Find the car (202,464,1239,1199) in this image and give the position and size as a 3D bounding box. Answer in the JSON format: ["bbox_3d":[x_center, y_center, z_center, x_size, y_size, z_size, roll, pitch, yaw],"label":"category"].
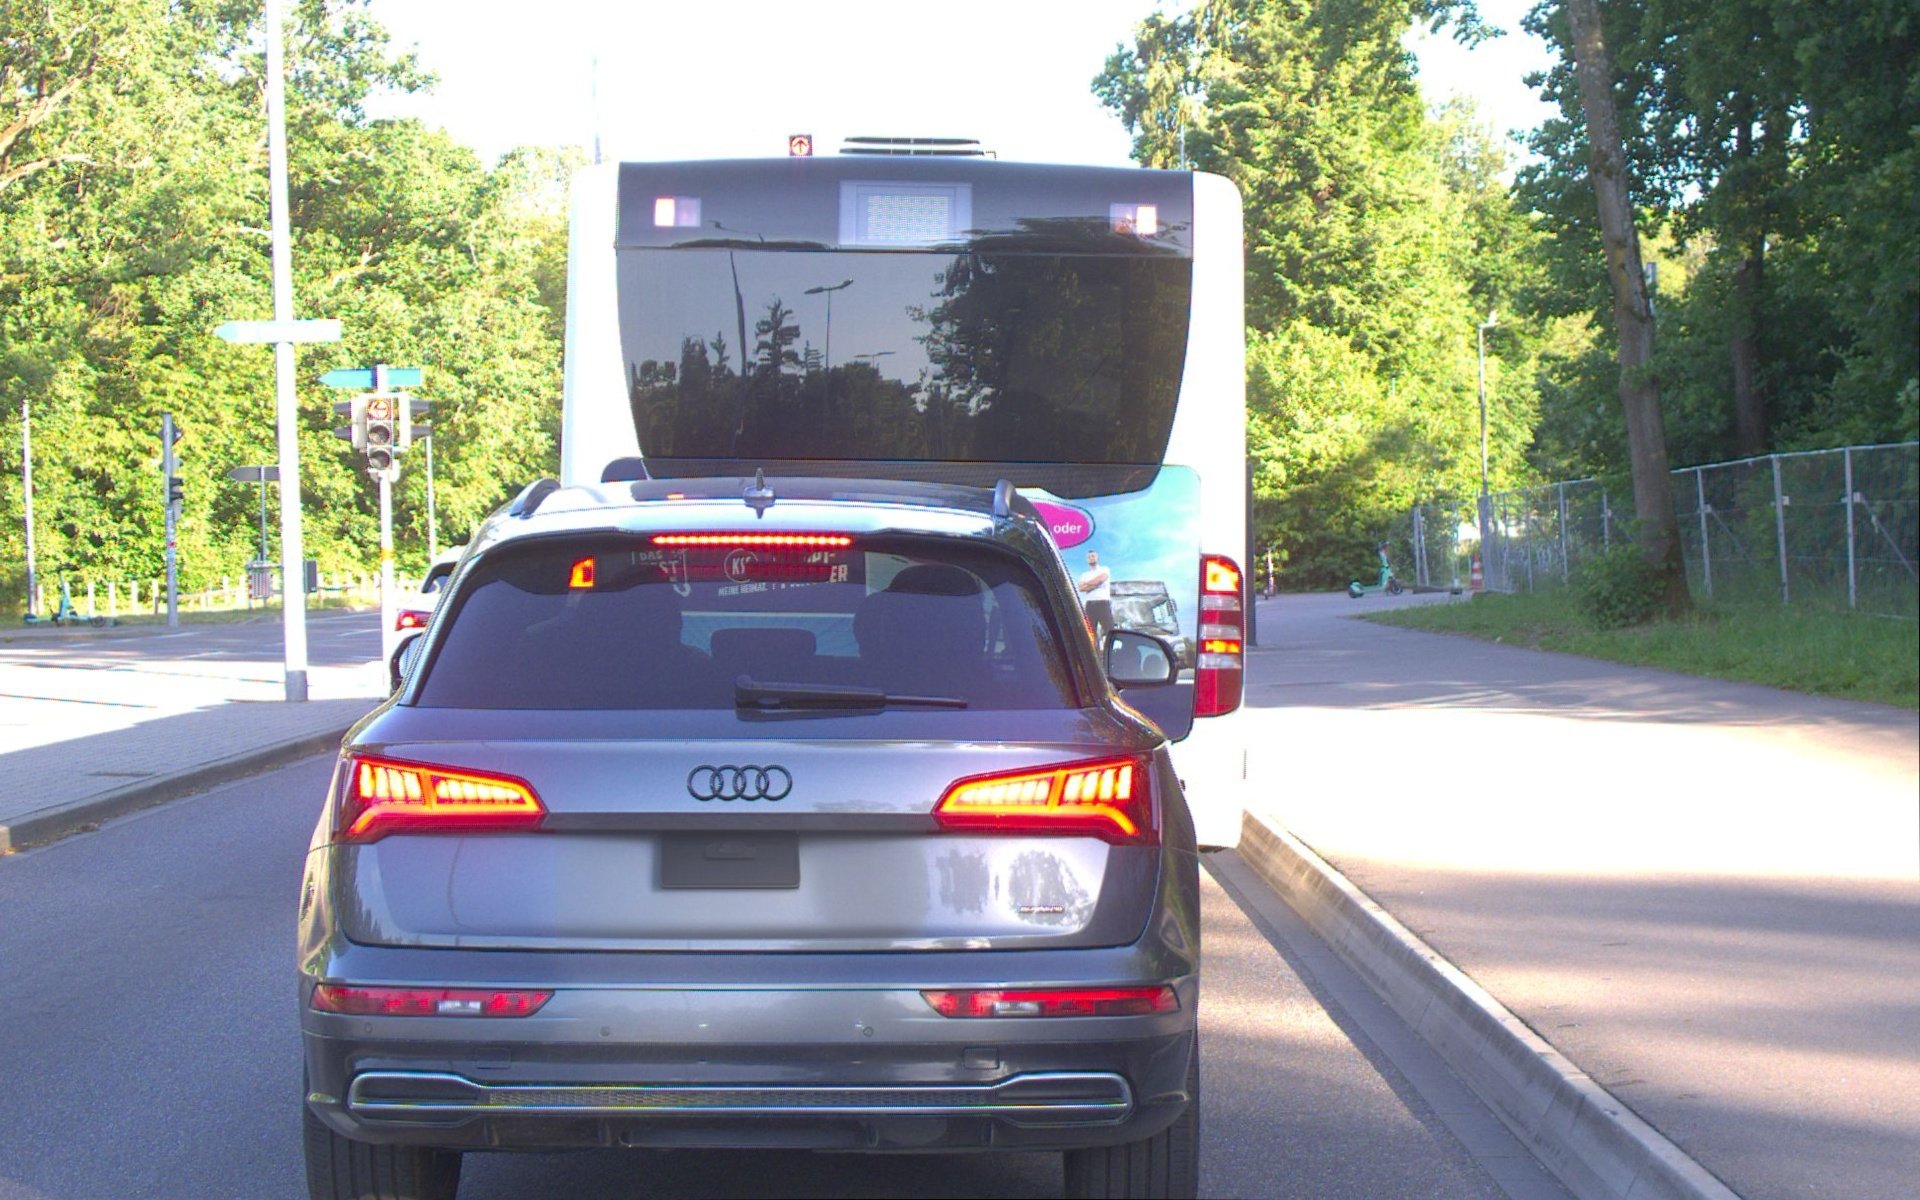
[{"bbox_3d":[-0.464,0.536,8.325,1.898,1.626,4.000,0,1,-1],"label":"car"}]

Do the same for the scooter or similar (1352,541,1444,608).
[{"bbox_3d":[9.928,-0.587,77.868,2.015,1.439,0.606,-2,1,-25],"label":"scooter or similar"}]

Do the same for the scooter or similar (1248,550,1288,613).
[{"bbox_3d":[7.216,-0.433,80.627,0.508,1.439,2.023,-2,1,-6],"label":"scooter or similar"}]

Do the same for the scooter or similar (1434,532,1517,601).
[{"bbox_3d":[11.865,-0.767,79.162,0.539,1.562,2.022,-3,1,-40],"label":"scooter or similar"}]

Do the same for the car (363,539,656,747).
[{"bbox_3d":[-3.512,0.285,27.473,1.836,1.513,4.000,-1,1,-1],"label":"car"}]

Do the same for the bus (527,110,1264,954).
[{"bbox_3d":[-0.280,-0.274,16.815,2.594,2.978,9.327,0,0,-1],"label":"bus"}]
